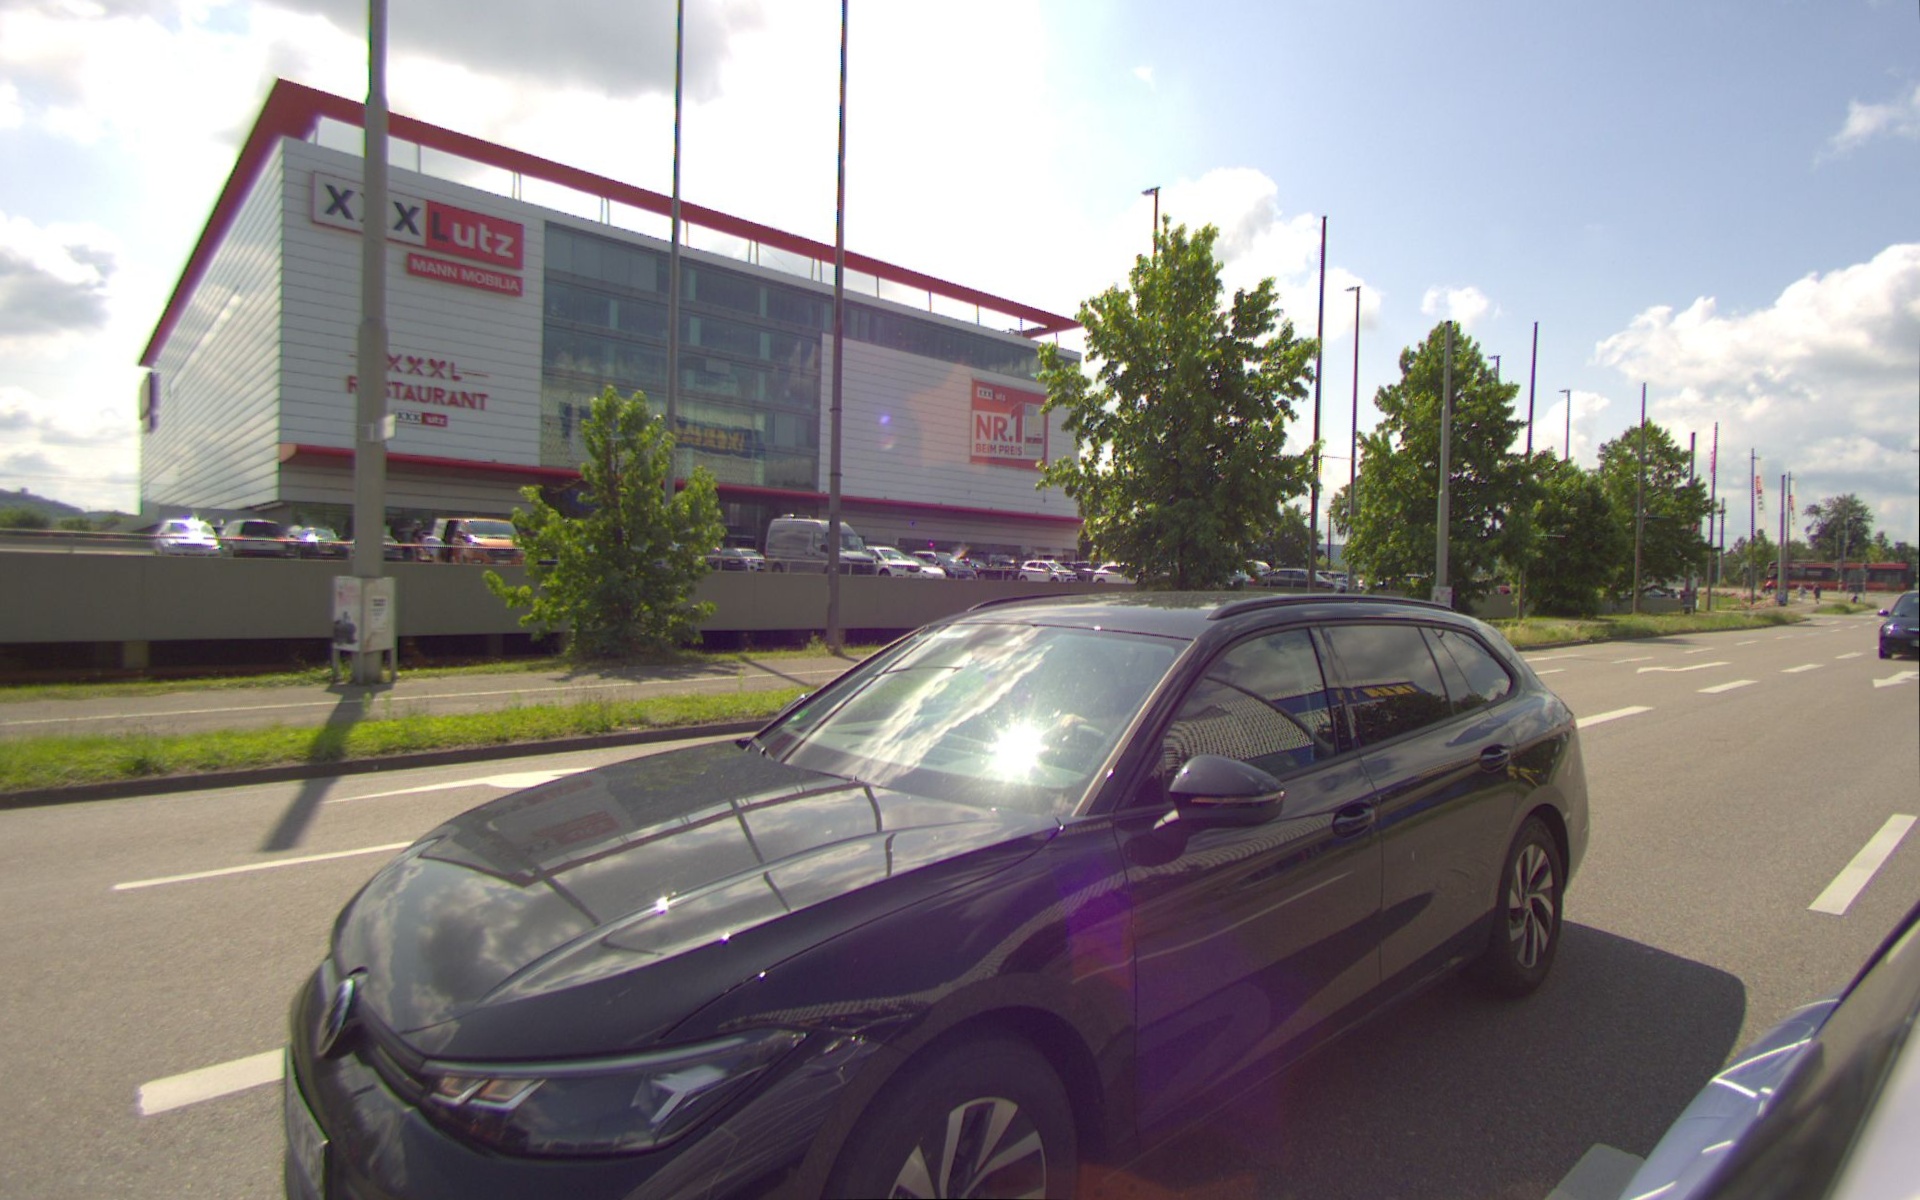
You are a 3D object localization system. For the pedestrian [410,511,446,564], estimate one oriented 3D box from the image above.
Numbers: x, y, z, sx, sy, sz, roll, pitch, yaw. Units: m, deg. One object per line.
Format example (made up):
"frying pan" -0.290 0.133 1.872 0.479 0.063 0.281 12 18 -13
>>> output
"pedestrian" -18.317 -2.133 34.852 1.014 1.764 0.698 0 0 36

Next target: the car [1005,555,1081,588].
"car" 4.730 -1.631 58.197 1.534 1.786 4.412 -1 1 -44

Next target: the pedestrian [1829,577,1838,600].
"pedestrian" 71.704 -0.940 83.036 0.524 1.836 0.668 -1 0 39

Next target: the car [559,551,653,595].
"car" -13.719 -1.026 39.051 1.921 1.625 4.416 -1 1 -41

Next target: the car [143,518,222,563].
"car" -29.378 -2.194 38.173 1.923 1.489 4.412 -1 1 -44

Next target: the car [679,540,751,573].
"car" -12.881 -2.253 52.995 1.920 1.625 4.418 -1 1 -40

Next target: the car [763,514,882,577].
"car" -5.664 -2.134 41.041 1.721 2.312 5.784 -1 1 -44

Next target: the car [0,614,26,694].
"car" -23.818 1.279 22.610 4.292 1.772 1.995 -1 1 -45

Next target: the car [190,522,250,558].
"car" -37.504 -2.995 51.271 1.923 1.625 4.412 -1 1 -44

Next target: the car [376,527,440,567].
"car" -26.801 -2.539 49.097 1.884 1.772 3.993 -1 1 -41

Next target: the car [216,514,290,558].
"car" -29.615 -2.643 42.345 1.923 1.625 4.412 -1 1 -44

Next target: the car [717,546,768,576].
"car" -12.907 -2.277 59.898 1.915 1.625 4.430 0 1 -27

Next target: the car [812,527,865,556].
"car" -7.663 -3.673 63.665 1.915 1.625 4.430 0 1 -27

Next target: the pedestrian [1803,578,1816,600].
"pedestrian" 70.463 -0.912 83.963 0.698 1.836 0.539 -1 0 31

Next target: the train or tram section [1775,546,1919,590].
"train or tram section" 100.931 -3.525 114.565 3.670 4.618 13.077 -1 1 -43

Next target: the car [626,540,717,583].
"car" -11.676 -1.499 40.766 1.920 1.625 4.418 -1 1 -40

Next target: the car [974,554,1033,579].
"car" 2.865 -2.214 68.051 1.916 1.625 4.428 0 1 -30

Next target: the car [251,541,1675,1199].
"car" 0.720 0.637 3.556 5.114 1.496 1.811 -1 1 -42

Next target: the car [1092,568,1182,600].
"car" 9.245 -0.850 53.093 1.921 1.625 4.416 -1 1 -41

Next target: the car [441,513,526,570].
"car" -16.546 -1.978 35.046 1.881 1.772 4.187 -1 1 -36

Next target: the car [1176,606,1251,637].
"car" 15.905 1.329 63.657 1.534 1.786 4.412 -1 1 -44

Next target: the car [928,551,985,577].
"car" -0.262 -2.270 64.710 1.915 1.625 4.430 0 1 -27

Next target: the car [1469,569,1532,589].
"car" 46.461 -1.786 87.043 1.921 1.625 4.416 -1 1 -41

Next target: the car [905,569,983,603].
"car" -0.854 -0.712 51.044 1.917 1.625 4.425 -1 1 -33

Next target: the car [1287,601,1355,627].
"car" 26.134 1.015 73.417 1.534 1.786 4.412 -1 1 -44

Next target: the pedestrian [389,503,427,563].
"pedestrian" -19.271 -2.315 35.334 0.895 2.039 0.706 -1 0 4

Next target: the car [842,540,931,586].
"car" -3.133 -1.524 42.538 1.719 1.816 3.995 -1 1 -40

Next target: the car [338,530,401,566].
"car" -27.251 -2.362 46.616 1.534 1.489 4.412 -1 1 -44

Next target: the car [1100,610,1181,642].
"car" 10.503 1.481 58.952 1.922 1.625 4.414 -1 1 -43

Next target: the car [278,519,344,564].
"car" -28.759 -2.539 44.811 1.884 1.772 3.993 -1 1 -41

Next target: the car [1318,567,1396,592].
"car" 26.362 -1.340 67.302 1.921 1.625 4.416 -1 1 -41

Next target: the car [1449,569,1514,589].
"car" 43.213 -1.760 83.928 1.921 1.625 4.416 -1 1 -41

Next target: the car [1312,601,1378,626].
"car" 28.893 0.973 76.099 1.534 1.786 4.412 -1 1 -44

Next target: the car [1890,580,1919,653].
"car" 22.128 0.354 22.595 4.196 1.549 1.605 0 1 -42

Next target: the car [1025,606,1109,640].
"car" 5.664 1.192 53.850 1.919 1.625 4.420 -1 1 -38

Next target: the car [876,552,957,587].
"car" -2.149 -1.435 48.962 1.917 1.625 4.425 -1 1 -33

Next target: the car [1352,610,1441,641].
"car" 25.460 1.456 59.164 1.921 1.625 4.416 -1 1 -41
